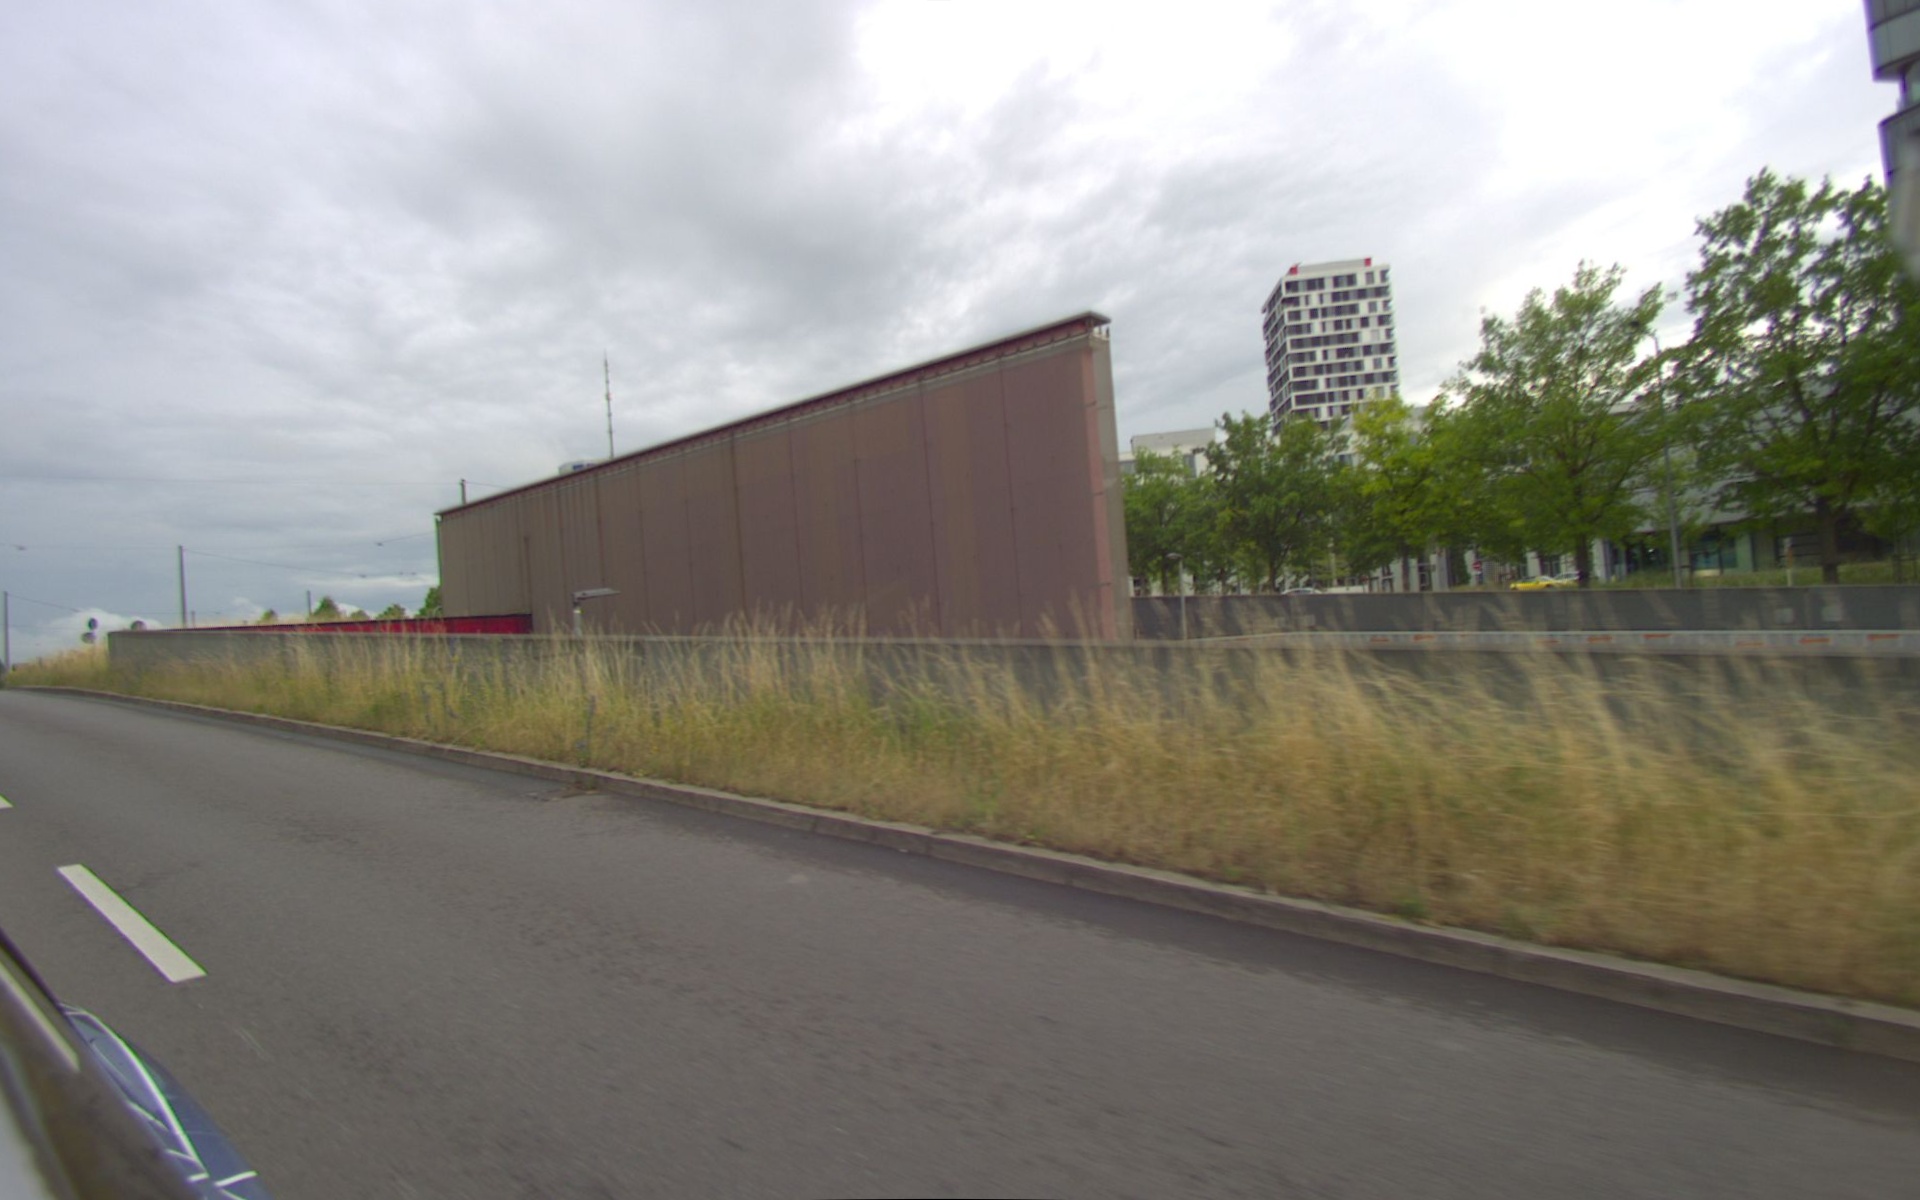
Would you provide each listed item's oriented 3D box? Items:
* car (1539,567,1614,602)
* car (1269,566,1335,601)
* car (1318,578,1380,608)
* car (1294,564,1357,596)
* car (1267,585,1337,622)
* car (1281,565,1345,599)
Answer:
[{"bbox_3d":[44.198,-1.108,72.645,1.966,2.028,4.013,-6,-1,-26],"label":"car"},{"bbox_3d":[24.952,-1.191,73.838,3.996,2.028,1.974,-7,-1,39],"label":"car"},{"bbox_3d":[31.090,-0.541,80.867,3.940,1.862,2.002,-7,-1,-6],"label":"car"},{"bbox_3d":[28.228,-1.537,78.244,3.996,2.028,1.974,-7,-1,39],"label":"car"},{"bbox_3d":[23.719,0.246,70.222,3.995,2.028,1.975,-7,-1,39],"label":"car"},{"bbox_3d":[26.581,-1.362,76.223,3.996,2.028,1.974,-7,-1,39],"label":"car"}]
